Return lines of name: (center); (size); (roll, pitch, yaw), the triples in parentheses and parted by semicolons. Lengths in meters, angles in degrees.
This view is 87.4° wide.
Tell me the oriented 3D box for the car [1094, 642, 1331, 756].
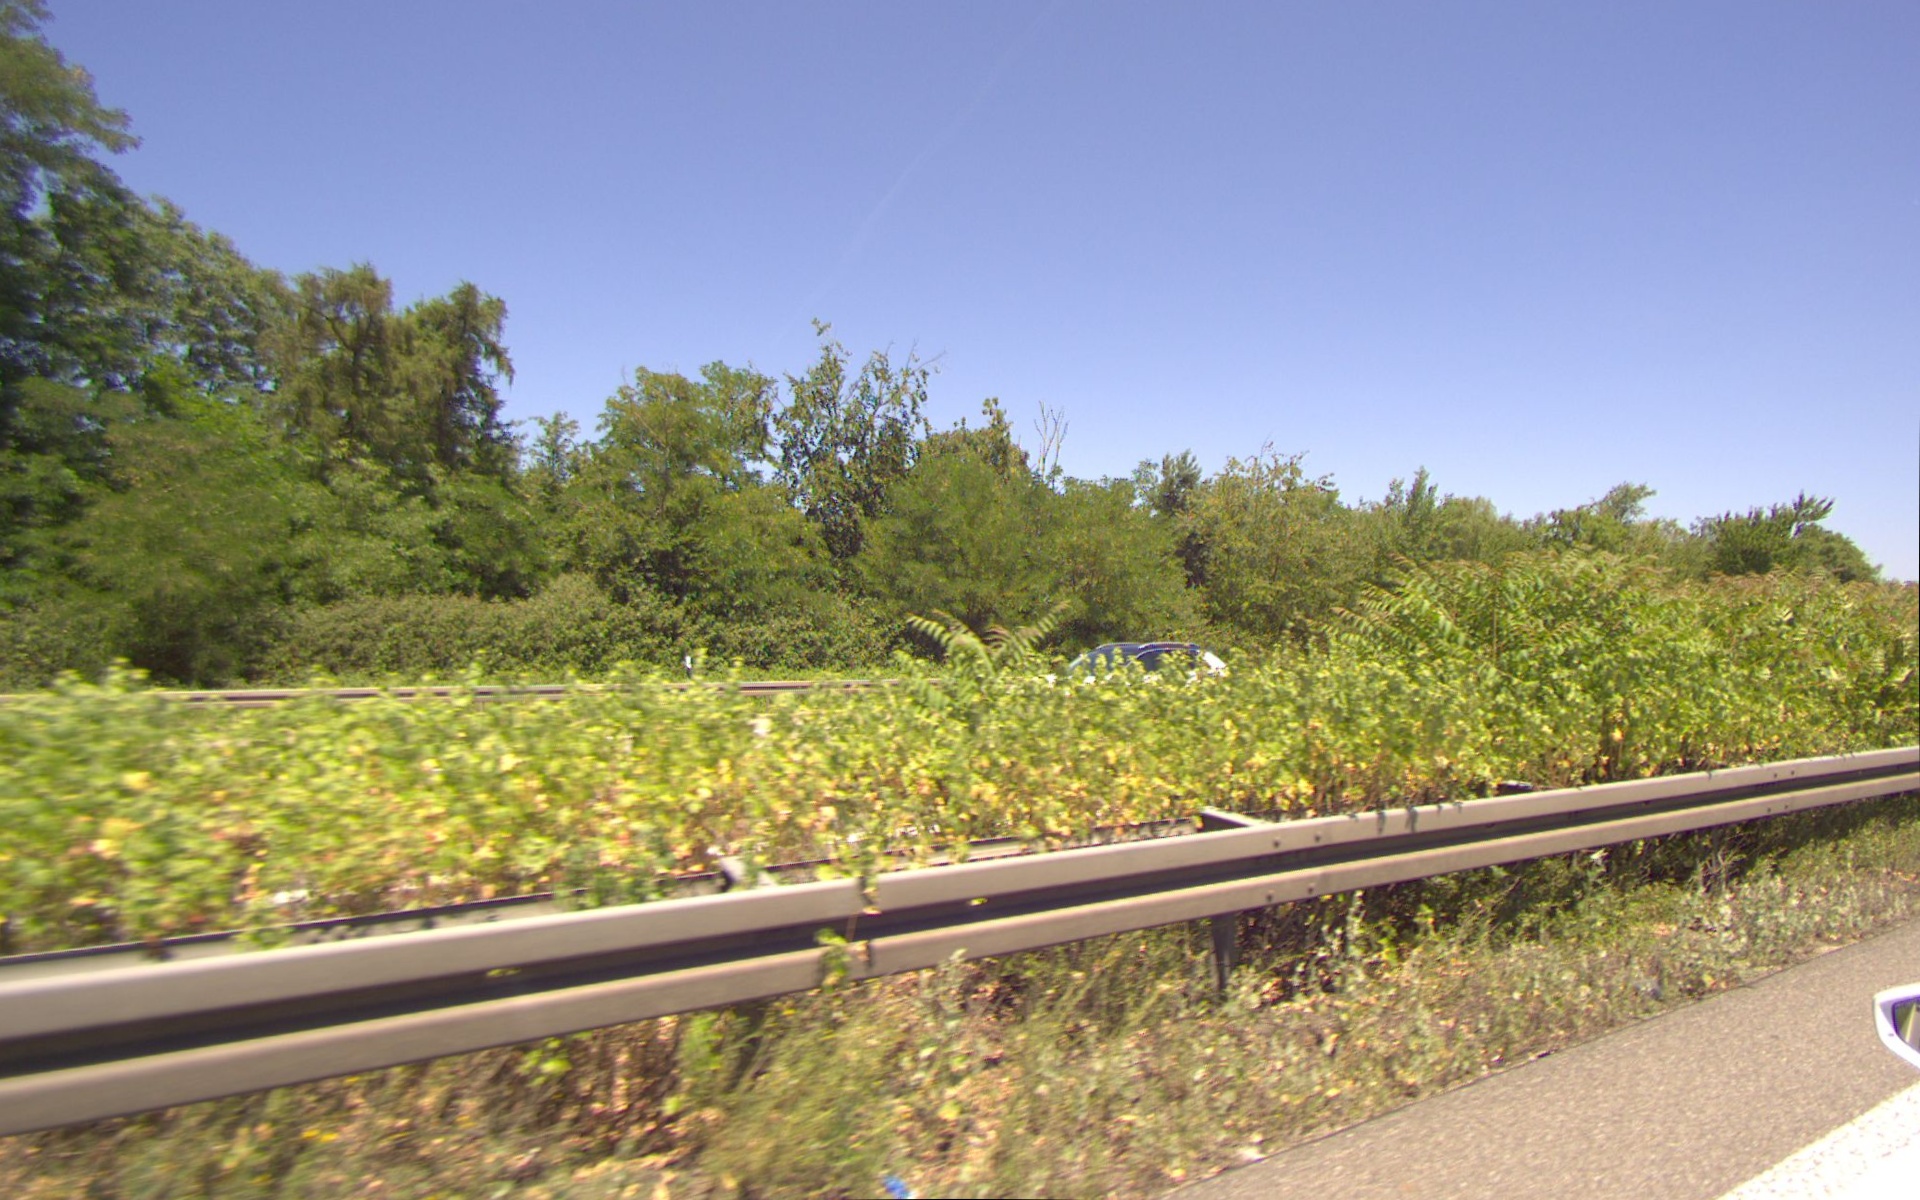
car: (4.260, 1.570, 16.837); (3.734, 1.674, 1.732); (2, -2, -30)
